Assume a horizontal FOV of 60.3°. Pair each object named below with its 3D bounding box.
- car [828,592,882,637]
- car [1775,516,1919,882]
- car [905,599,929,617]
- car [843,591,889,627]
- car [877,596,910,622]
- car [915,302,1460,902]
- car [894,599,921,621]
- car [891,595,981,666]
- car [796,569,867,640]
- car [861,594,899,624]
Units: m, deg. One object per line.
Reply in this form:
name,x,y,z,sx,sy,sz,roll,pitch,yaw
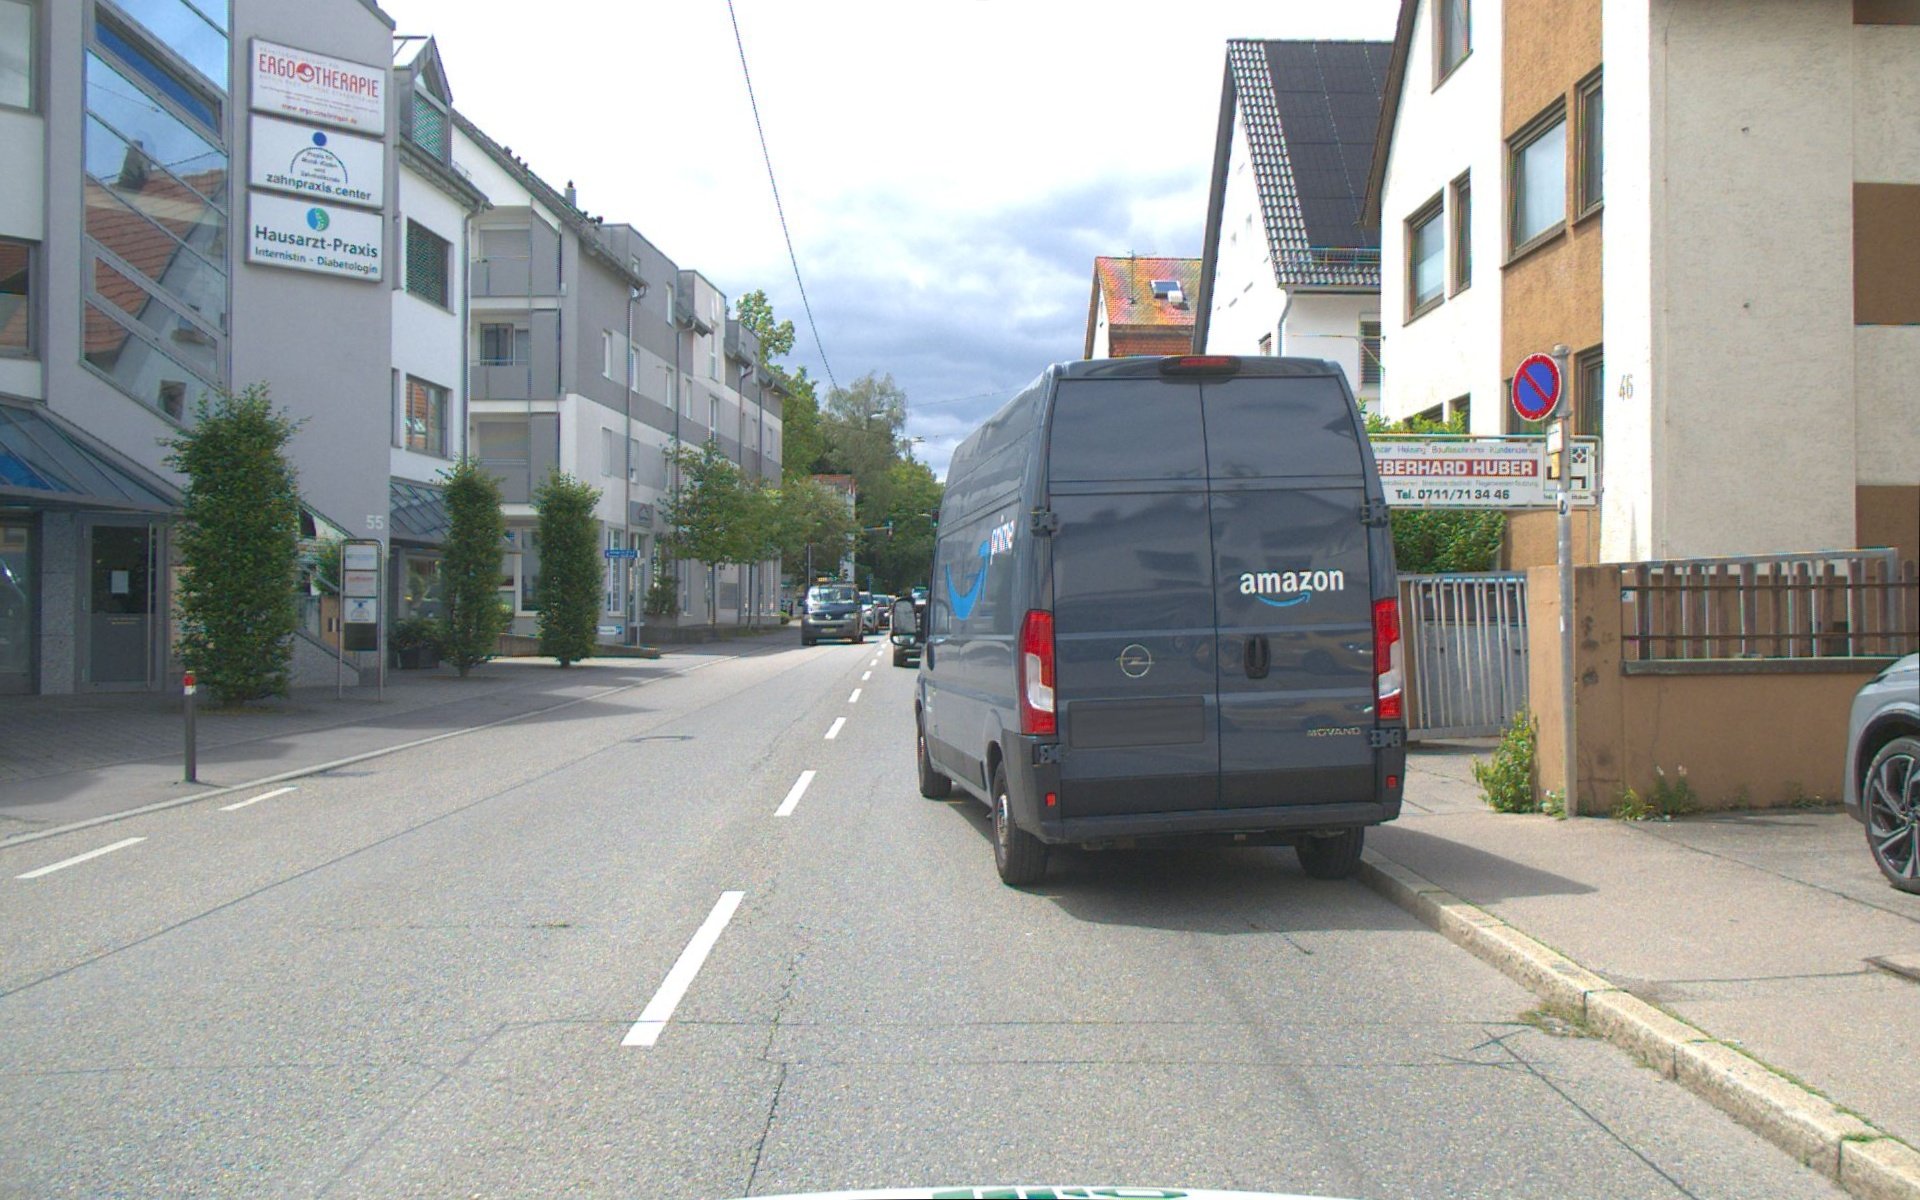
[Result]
car,-4.206,0.547,66.975,2.063,1.739,4.763,0,0,-2
car,5.231,0.428,6.316,1.823,1.640,4.584,-1,0,-2
car,-3.841,0.697,146.032,2.063,1.624,4.648,0,0,-2
car,-4.382,0.417,77.660,2.063,1.624,4.648,0,0,-2
car,-4.227,0.561,105.224,2.063,1.624,4.648,0,0,-2
car,1.044,-0.001,10.751,2.209,2.844,5.561,0,0,-6
car,-4.070,0.758,128.061,2.063,1.624,4.648,0,0,-2
car,-0.487,0.640,37.181,1.857,1.479,3.969,0,0,1
car,-4.208,0.136,54.704,2.063,2.158,4.763,-2,0,-2
car,-4.502,0.475,93.462,2.063,1.624,4.648,0,0,-2
